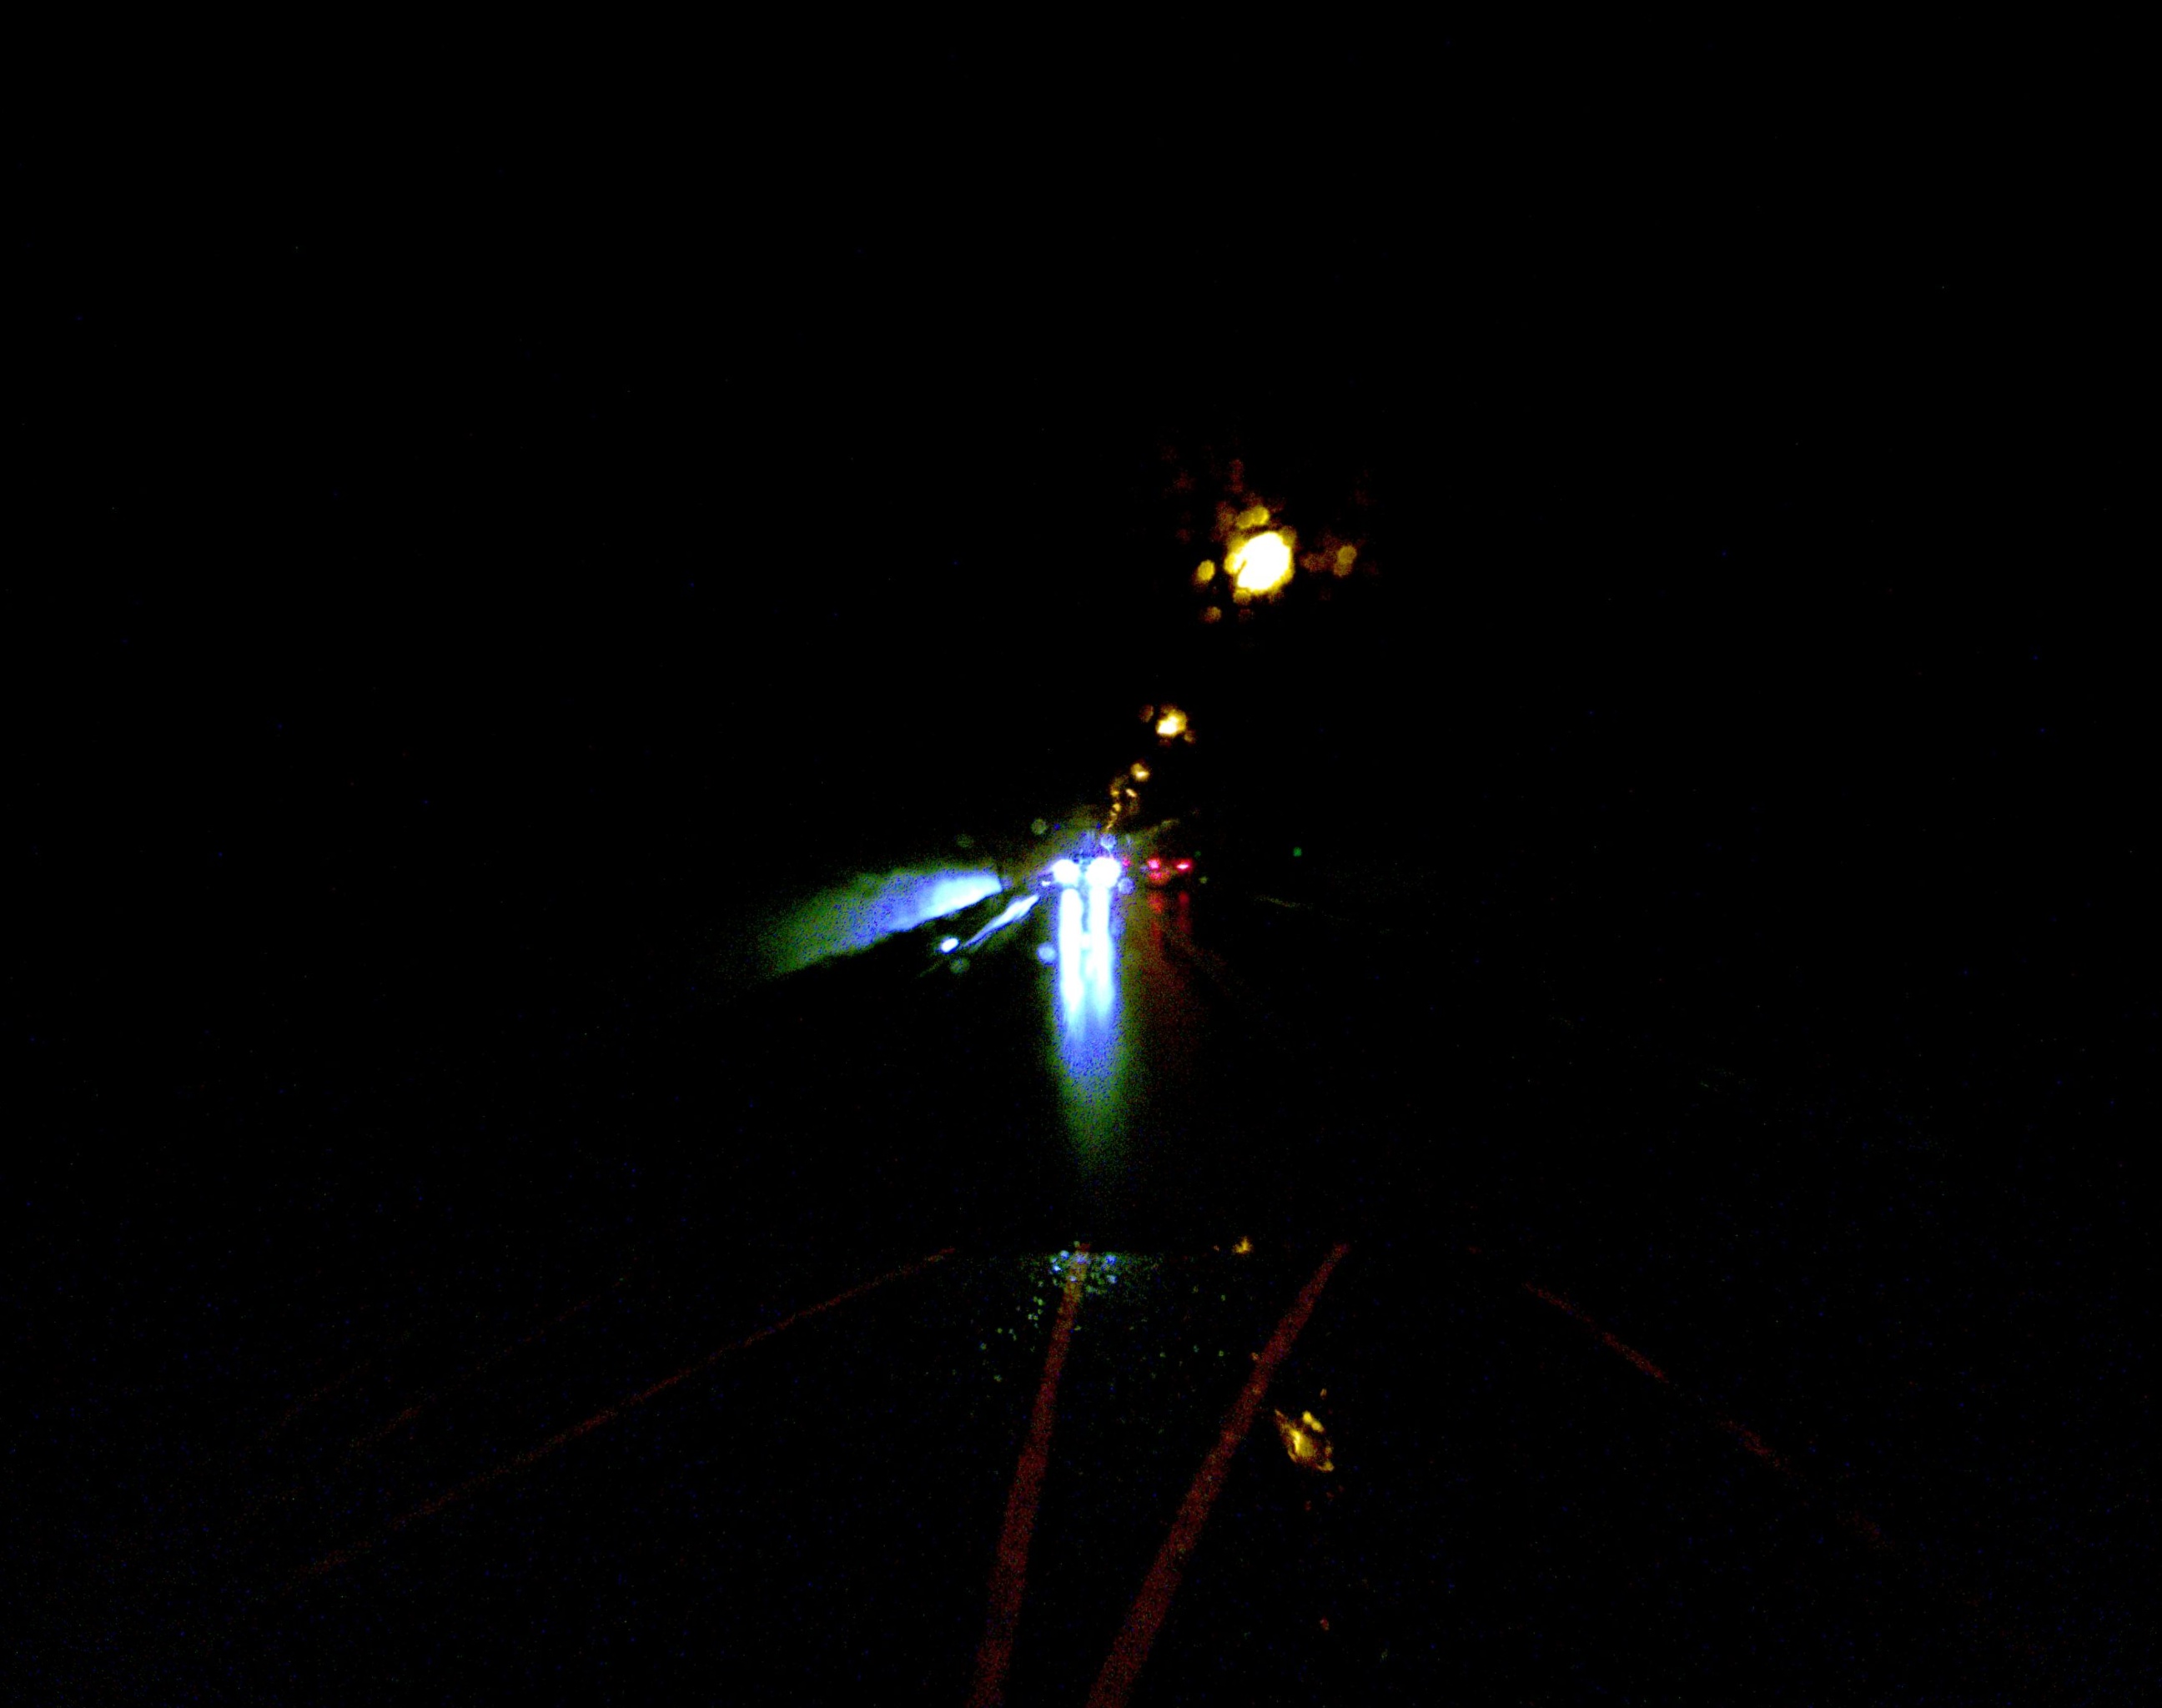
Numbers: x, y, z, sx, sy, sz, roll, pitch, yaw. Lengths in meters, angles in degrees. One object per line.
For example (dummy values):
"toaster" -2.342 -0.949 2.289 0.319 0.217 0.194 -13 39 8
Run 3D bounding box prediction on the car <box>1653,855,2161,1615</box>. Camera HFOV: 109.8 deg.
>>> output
"car" 2.999 0.767 0.616 1.753 1.471 4.476 -1 0 1

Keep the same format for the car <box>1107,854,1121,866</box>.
"car" 4.651 0.812 108.077 1.786 1.666 4.560 -1 0 -1

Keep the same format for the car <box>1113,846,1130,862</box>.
"car" 4.659 -0.006 87.194 1.918 1.718 4.001 -1 0 3

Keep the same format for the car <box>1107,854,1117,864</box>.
"car" 5.934 0.962 145.627 1.785 1.917 5.138 -1 0 1

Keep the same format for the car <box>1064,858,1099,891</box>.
"car" 0.051 0.983 37.539 1.627 1.487 3.585 -1 0 1

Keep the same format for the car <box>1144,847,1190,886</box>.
"car" 3.950 0.536 35.522 1.701 1.666 4.127 -1 0 1
